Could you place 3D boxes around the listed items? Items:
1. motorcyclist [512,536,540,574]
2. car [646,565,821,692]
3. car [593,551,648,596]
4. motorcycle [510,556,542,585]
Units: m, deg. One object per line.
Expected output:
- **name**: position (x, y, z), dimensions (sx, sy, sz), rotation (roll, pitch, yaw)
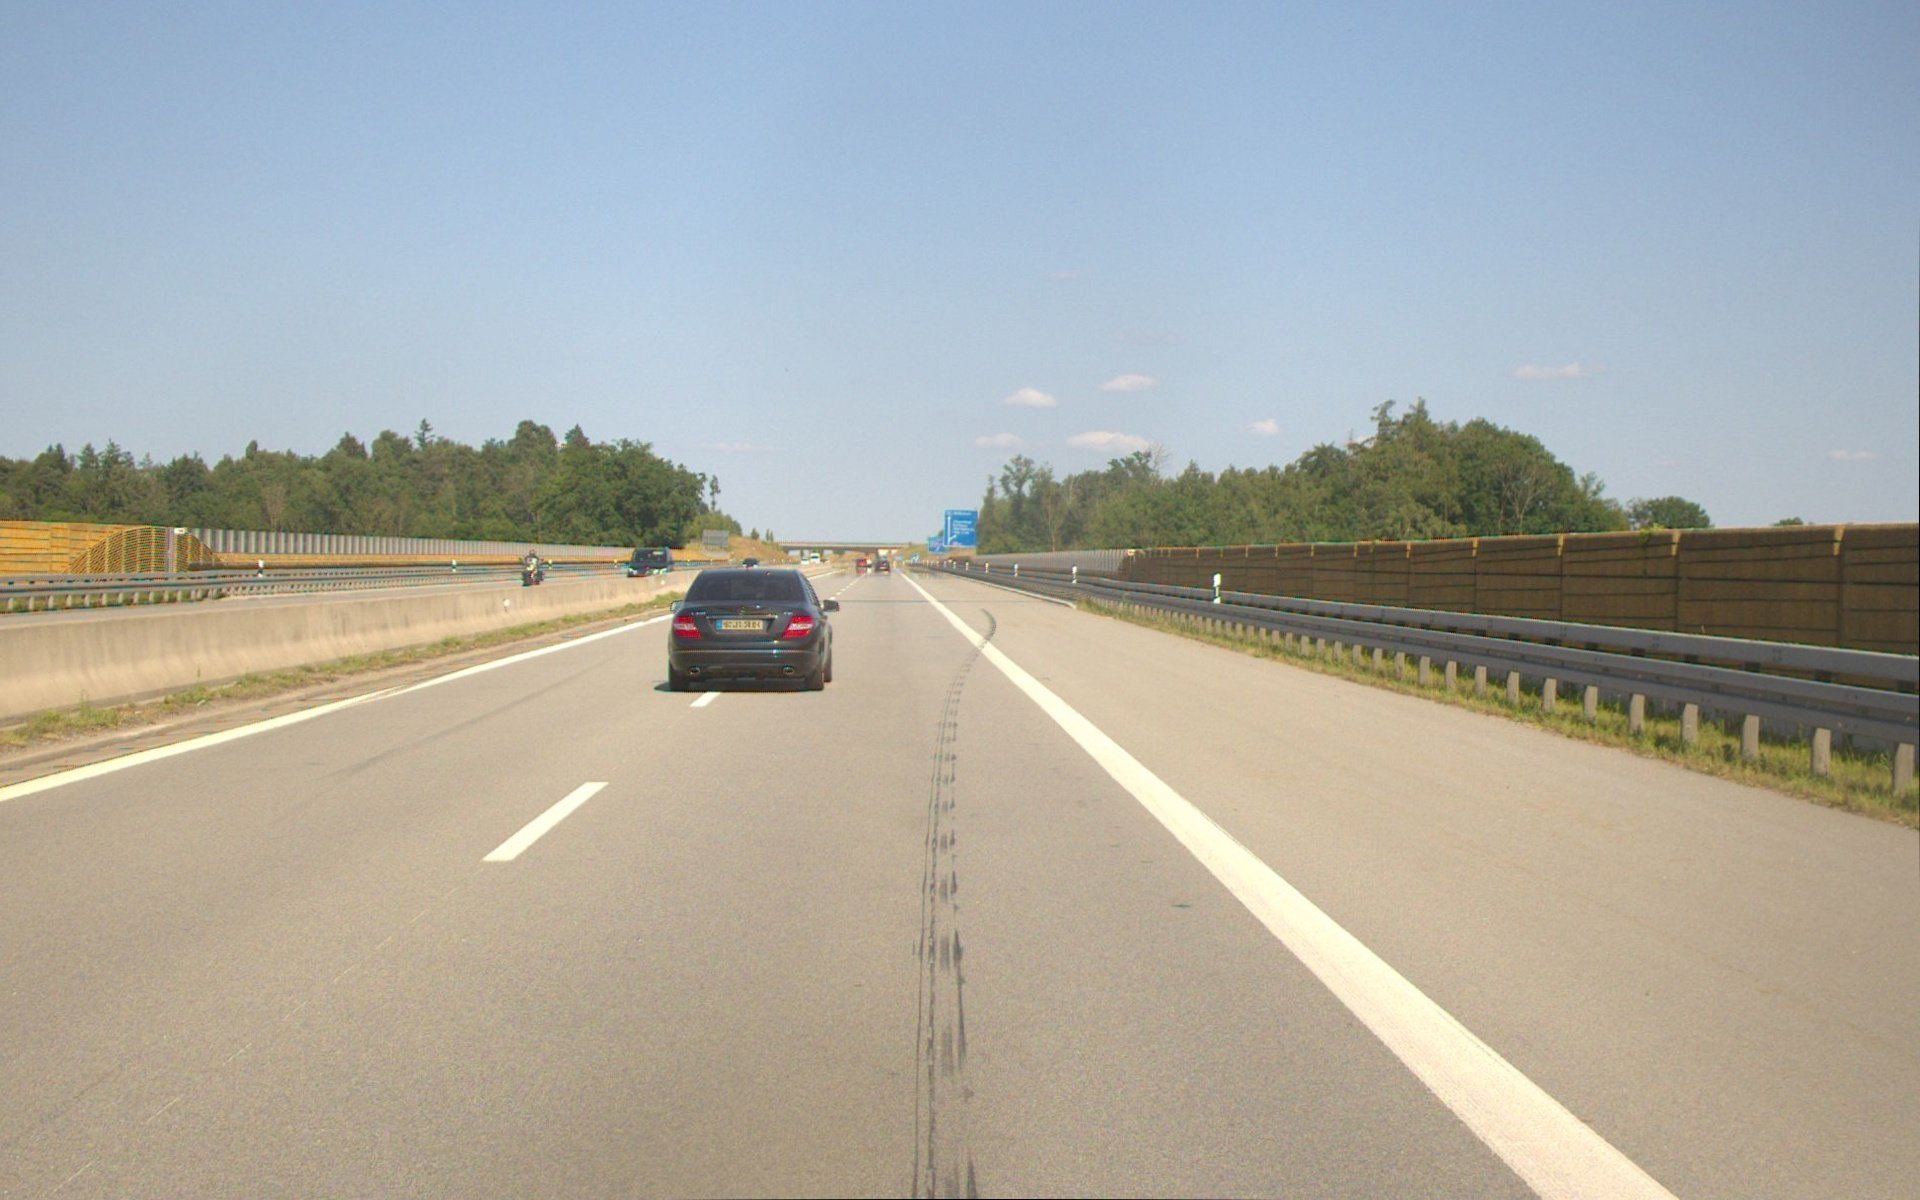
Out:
- **motorcyclist**: position (-18.044, -1.862, 142.894), dimensions (1.012, 1.558, 1.428), rotation (1, 0, -1)
- **car**: position (-2.562, 0.295, 39.644), dimensions (1.790, 1.369, 3.917), rotation (1, 1, -1)
- **car**: position (-15.386, -1.214, 156.100), dimensions (1.993, 2.007, 5.737), rotation (1, 0, -1)
- **motorcycle**: position (-18.049, -1.232, 142.884), dimensions (1.013, 1.163, 2.868), rotation (1, 1, -1)
